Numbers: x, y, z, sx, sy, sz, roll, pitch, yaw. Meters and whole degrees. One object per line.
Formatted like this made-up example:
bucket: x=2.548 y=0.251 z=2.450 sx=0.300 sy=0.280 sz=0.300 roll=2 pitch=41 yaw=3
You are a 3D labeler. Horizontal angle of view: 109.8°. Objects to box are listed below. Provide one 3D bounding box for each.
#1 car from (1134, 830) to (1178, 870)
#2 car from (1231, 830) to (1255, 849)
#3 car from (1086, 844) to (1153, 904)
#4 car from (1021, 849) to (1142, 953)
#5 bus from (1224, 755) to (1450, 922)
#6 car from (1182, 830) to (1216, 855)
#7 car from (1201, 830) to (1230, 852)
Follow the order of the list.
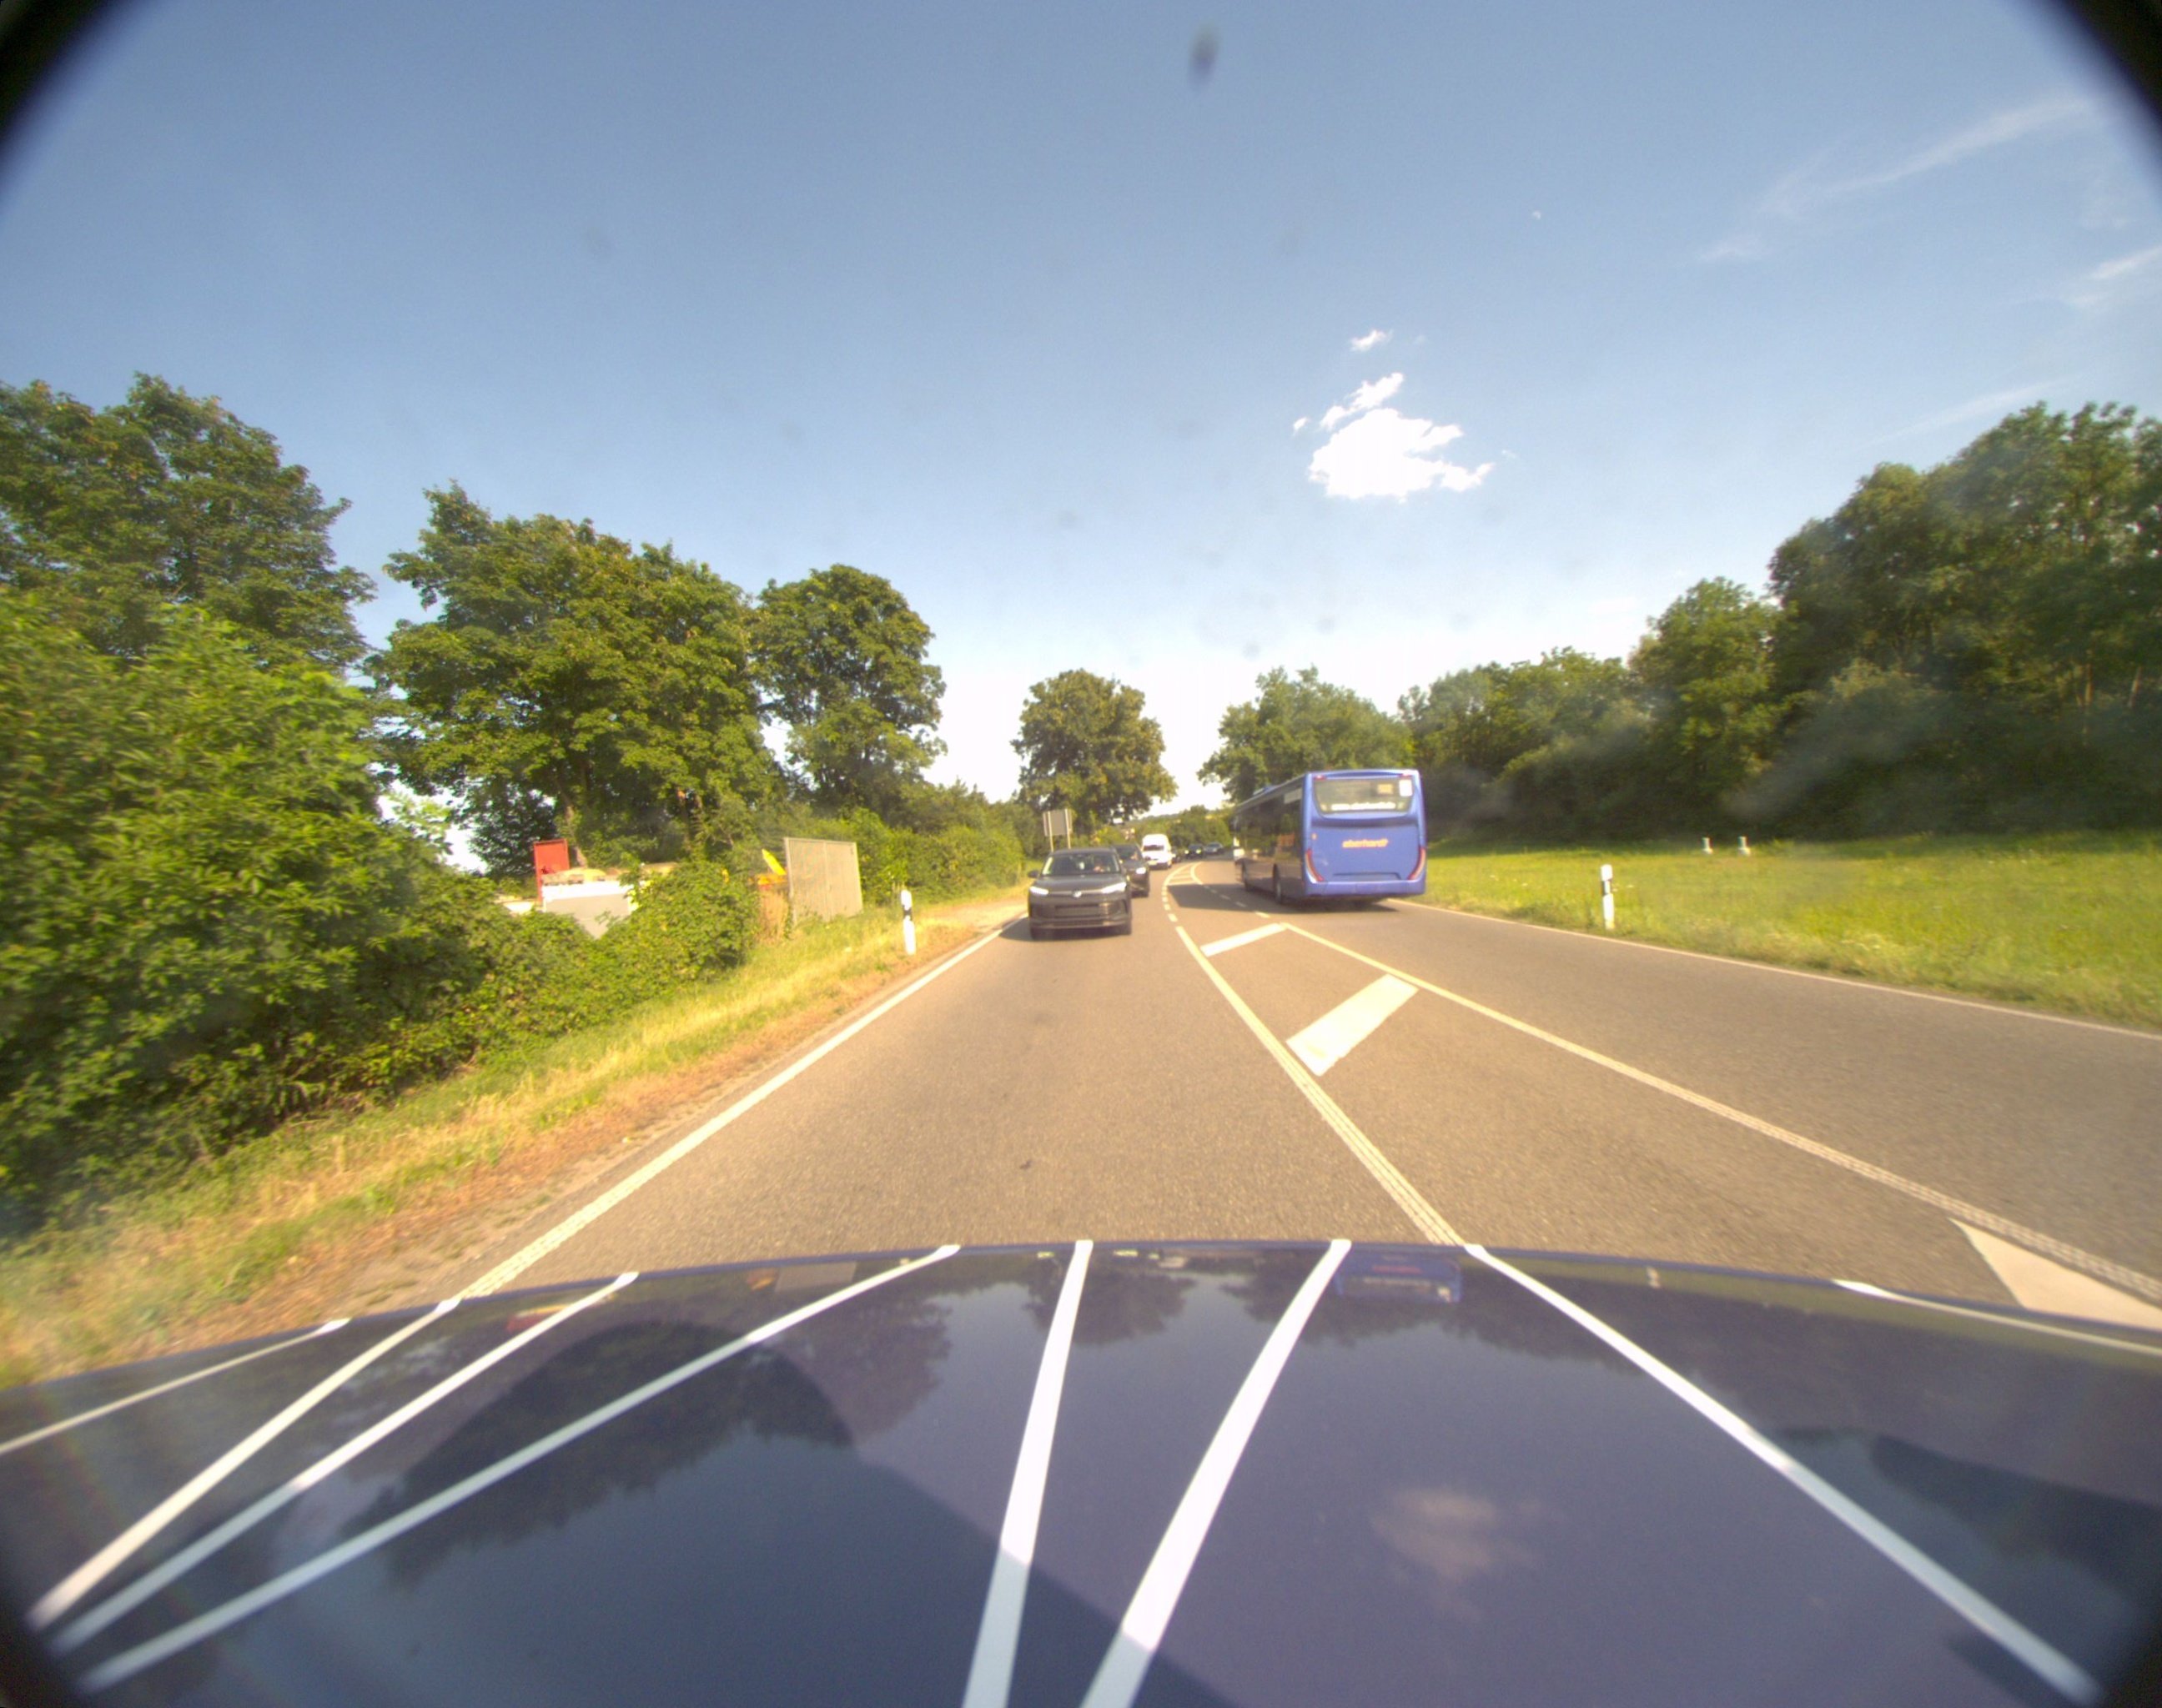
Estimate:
car: x=5.161 y=-0.325 z=51.431 sx=2.086 sy=2.403 sz=5.146 roll=-3 pitch=1 yaw=14
car: x=22.702 y=-2.006 z=106.097 sx=2.085 sy=2.403 sz=5.149 roll=-3 pitch=2 yaw=25
car: x=1.316 y=0.578 z=25.310 sx=1.922 sy=1.719 sz=4.702 roll=-3 pitch=1 yaw=4
car: x=0.152 y=0.763 z=14.957 sx=1.922 sy=1.612 sz=4.702 roll=-3 pitch=1 yaw=4
bus: x=6.204 y=-0.444 z=21.121 sx=2.800 sy=3.163 sz=12.126 roll=-3 pitch=1 yaw=4
car: x=12.535 y=-1.205 z=80.372 sx=2.085 sy=2.403 sz=5.149 roll=-3 pitch=2 yaw=25
car: x=16.174 y=-1.556 z=91.396 sx=2.085 sy=2.403 sz=5.149 roll=-3 pitch=2 yaw=25
